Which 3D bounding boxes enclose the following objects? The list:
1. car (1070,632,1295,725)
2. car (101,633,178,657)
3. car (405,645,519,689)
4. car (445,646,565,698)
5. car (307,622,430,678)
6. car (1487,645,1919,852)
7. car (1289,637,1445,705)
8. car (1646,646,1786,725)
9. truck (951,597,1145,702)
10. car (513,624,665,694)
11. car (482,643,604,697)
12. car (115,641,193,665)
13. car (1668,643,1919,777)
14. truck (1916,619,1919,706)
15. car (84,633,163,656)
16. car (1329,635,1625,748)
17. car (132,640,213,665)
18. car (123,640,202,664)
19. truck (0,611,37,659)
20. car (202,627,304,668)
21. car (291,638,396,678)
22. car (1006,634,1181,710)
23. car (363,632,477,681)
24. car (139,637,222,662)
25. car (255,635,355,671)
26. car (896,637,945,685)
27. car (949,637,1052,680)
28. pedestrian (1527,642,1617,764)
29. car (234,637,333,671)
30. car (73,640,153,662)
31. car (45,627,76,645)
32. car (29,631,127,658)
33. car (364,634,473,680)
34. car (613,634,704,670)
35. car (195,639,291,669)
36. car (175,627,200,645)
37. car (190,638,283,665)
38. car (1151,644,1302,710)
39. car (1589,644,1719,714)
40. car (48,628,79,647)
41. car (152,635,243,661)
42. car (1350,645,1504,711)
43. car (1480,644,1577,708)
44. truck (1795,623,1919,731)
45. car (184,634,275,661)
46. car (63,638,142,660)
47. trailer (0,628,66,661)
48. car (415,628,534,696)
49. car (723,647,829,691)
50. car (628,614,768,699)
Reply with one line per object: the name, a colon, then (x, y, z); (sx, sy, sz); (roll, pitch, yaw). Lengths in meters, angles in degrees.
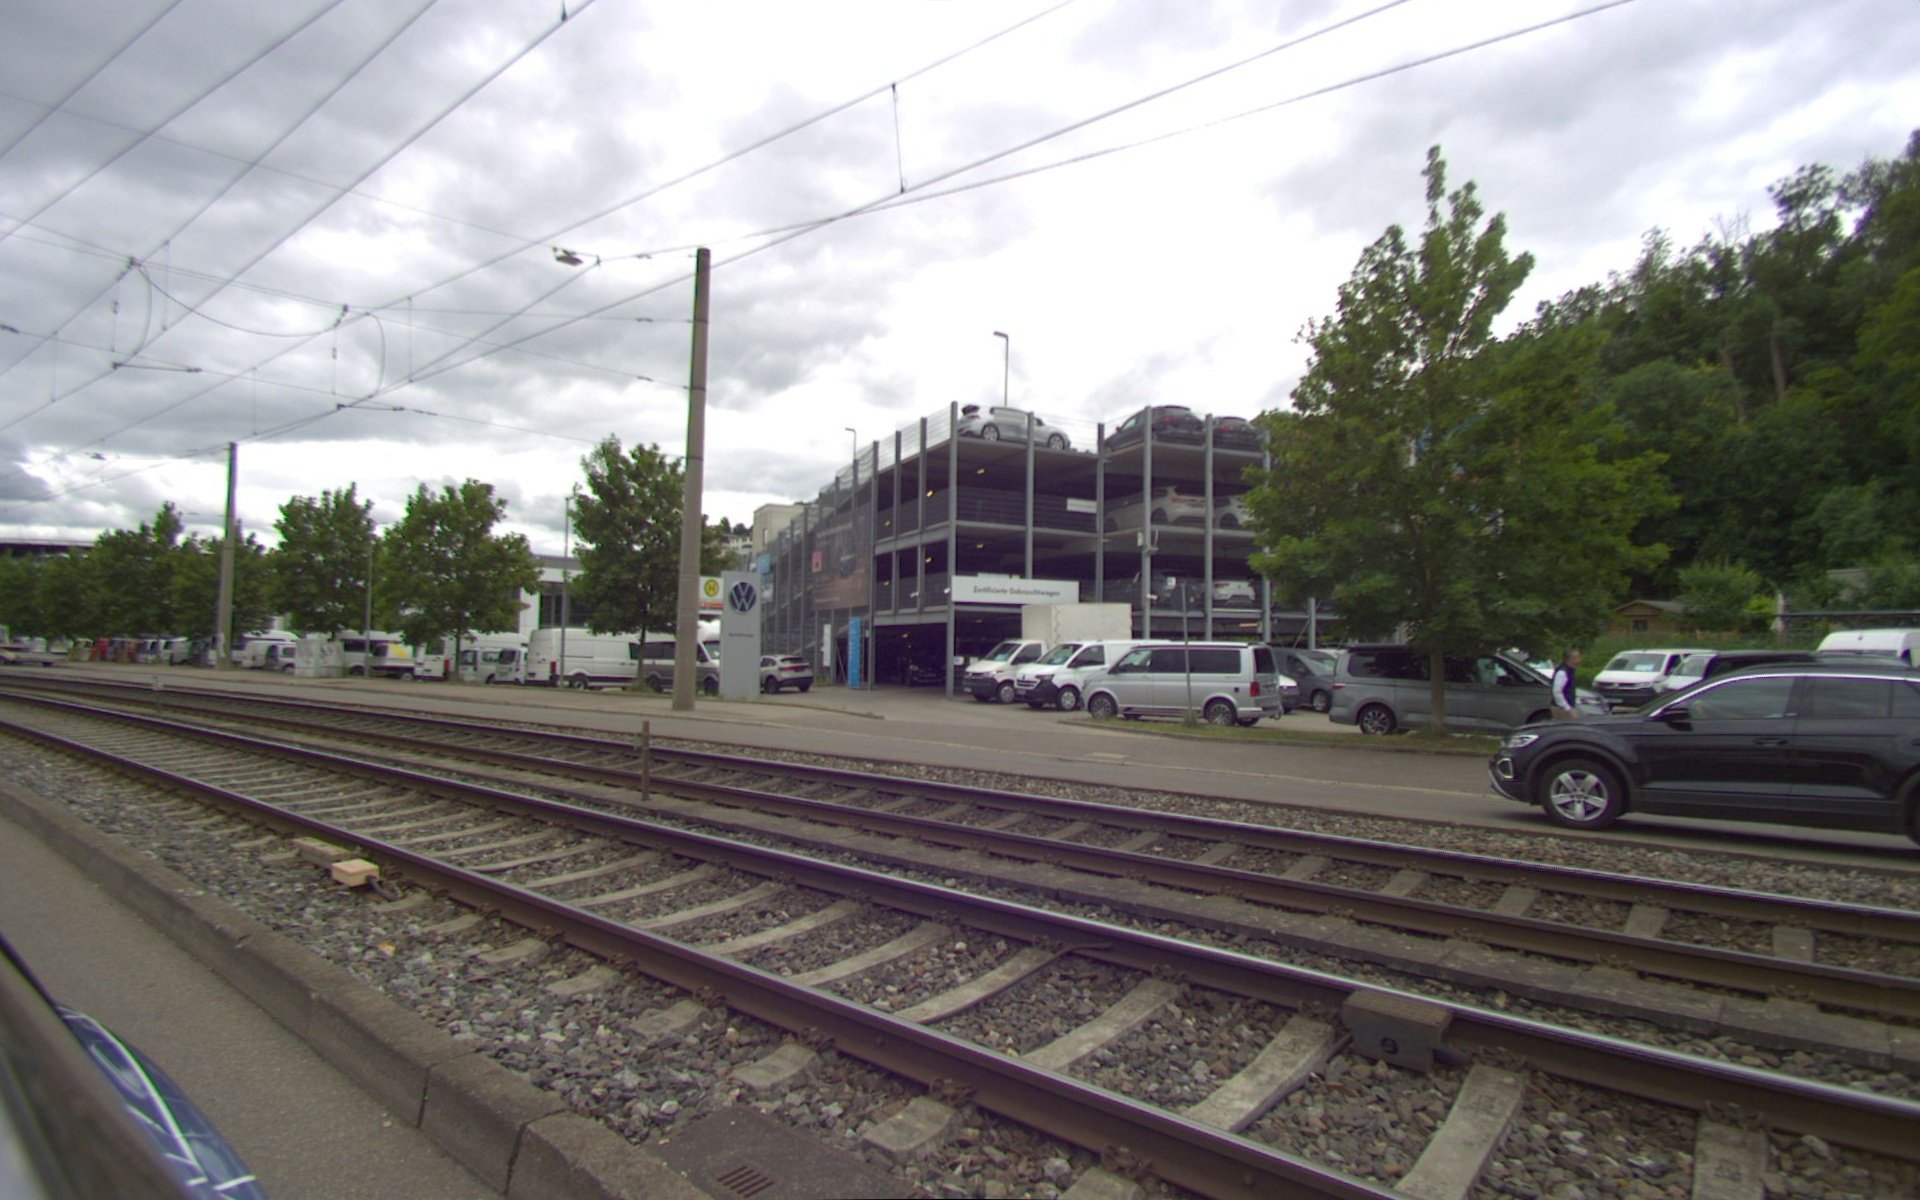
car: (5.260, 1.814, 24.286); (4.908, 2.029, 1.976); (-2, -4, 36)
car: (-59.330, 3.276, 73.256); (2.045, 1.677, 3.948); (-2, -4, 39)
car: (-23.182, 3.098, 47.283); (1.998, 1.925, 4.330); (-1, -4, 33)
car: (-19.628, 3.087, 43.802); (1.998, 2.121, 4.330); (-1, -4, 33)
car: (-29.999, 2.541, 51.462); (2.109, 2.719, 4.925); (-1, -4, 33)
car: (7.106, 1.229, 8.818); (4.249, 1.544, 1.671); (-2, -7, 38)
car: (13.025, 2.252, 32.702); (1.965, 2.028, 4.482); (2, -3, -26)
car: (21.192, 2.344, 28.337); (3.934, 2.029, 2.005); (3, -4, -35)
truck: (2.827, 1.599, 32.175); (5.835, 3.108, 2.126); (2, -3, -23)
car: (-15.006, 2.390, 41.239); (2.243, 2.622, 5.421); (-2, -4, 37)
car: (-17.437, 2.901, 42.531); (1.998, 2.121, 4.330); (-1, -4, 33)
car: (-57.218, 3.767, 71.856); (1.998, 1.630, 3.948); (-2, -4, 39)
car: (15.429, 1.824, 17.941); (2.136, 2.029, 5.070); (1, -3, 1)
truck: (24.781, 1.776, 23.124); (5.678, 2.608, 2.476); (2, -4, -28)
car: (-61.642, 3.272, 74.638); (2.060, 1.630, 4.137); (-2, -4, 39)
car: (10.433, 1.764, 20.637); (5.119, 2.029, 1.976); (-2, -4, 36)
car: (-53.642, 3.600, 68.959); (1.998, 1.630, 3.948); (-2, -4, 39)
car: (-55.549, 3.654, 70.560); (1.998, 1.630, 3.948); (-2, -4, 39)
truck: (-60.818, 2.174, 63.086); (9.196, 2.763, 2.732); (-1, -6, 35)
car: (-41.466, 2.792, 59.451); (2.122, 2.329, 4.453); (-2, -4, 38)
car: (-32.802, 3.091, 53.939); (1.998, 2.026, 4.330); (-1, -4, 33)
car: (3.868, 2.067, 29.251); (4.648, 2.029, 2.006); (2, -4, -25)
car: (-25.641, 2.688, 48.218); (1.998, 2.189, 4.330); (-1, -4, 33)
car: (-51.740, 3.294, 67.201); (1.998, 1.630, 3.948); (-2, -4, 39)
car: (-37.126, 3.025, 57.458); (2.001, 1.962, 4.323); (-2, -4, 38)
car: (-1.632, 2.590, 43.241); (1.972, 1.918, 3.999); (1, -3, 0)
car: (1.877, 2.694, 47.121); (4.453, 1.918, 1.976); (-1, -4, 35)
pedestrian: (8.841, 1.457, 14.661); (1.038, 1.668, 0.713); (-2, -2, 30)
car: (-39.113, 3.117, 58.587); (2.001, 1.859, 4.323); (-2, -4, 38)
car: (-64.217, 3.868, 76.809); (2.117, 1.630, 4.302); (-2, -4, 39)
car: (-100.817, 4.058, 113.457); (1.966, 2.029, 4.011); (3, -3, -33)
car: (-70.833, 3.574, 81.436); (5.619, 2.023, 2.149); (3, -4, -35)
car: (-27.019, 2.849, 50.647); (1.998, 2.189, 4.330); (-1, -4, 33)
car: (-17.702, 3.049, 59.567); (1.998, 2.029, 4.795); (-2, -4, 39)
car: (-43.583, 3.285, 61.596); (2.026, 1.702, 4.329); (-1, -4, 34)
car: (-91.692, 4.313, 120.148); (1.966, 2.029, 4.011); (3, -3, -33)
car: (-45.227, 3.204, 63.309); (2.001, 1.630, 4.323); (-2, -4, 38)
car: (7.941, 2.276, 30.666); (1.965, 1.845, 4.482); (2, -3, -26)
car: (21.744, 2.433, 31.673); (4.196, 2.029, 1.986); (3, -4, -36)
car: (-100.006, 4.177, 112.916); (1.966, 2.029, 4.011); (3, -4, -33)
car: (-49.311, 3.129, 65.517); (2.000, 1.630, 4.326); (-2, -4, 36)
car: (15.467, 2.545, 33.803); (1.965, 2.028, 4.482); (2, -3, -23)
car: (19.345, 2.549, 34.637); (1.984, 2.029, 4.252); (-2, -3, 18)
truck: (24.840, 1.997, 26.750); (4.984, 2.608, 2.476); (2, -4, -28)
car: (-46.817, 3.065, 64.937); (2.001, 1.699, 4.323); (-2, -4, 38)
car: (-66.253, 3.795, 78.272); (2.151, 1.630, 4.294); (-2, -4, 39)
trailer: (-54.207, 2.555, 58.368); (6.932, 1.711, 2.362); (-1, -5, 35)
car: (-21.583, 2.743, 45.148); (1.998, 2.841, 4.330); (-1, -4, 33)
car: (-7.409, 2.748, 40.565); (4.132, 1.630, 1.973); (-2, -4, 40)
car: (-10.154, 2.131, 38.996); (5.931, 3.042, 2.086); (-2, -4, 40)
